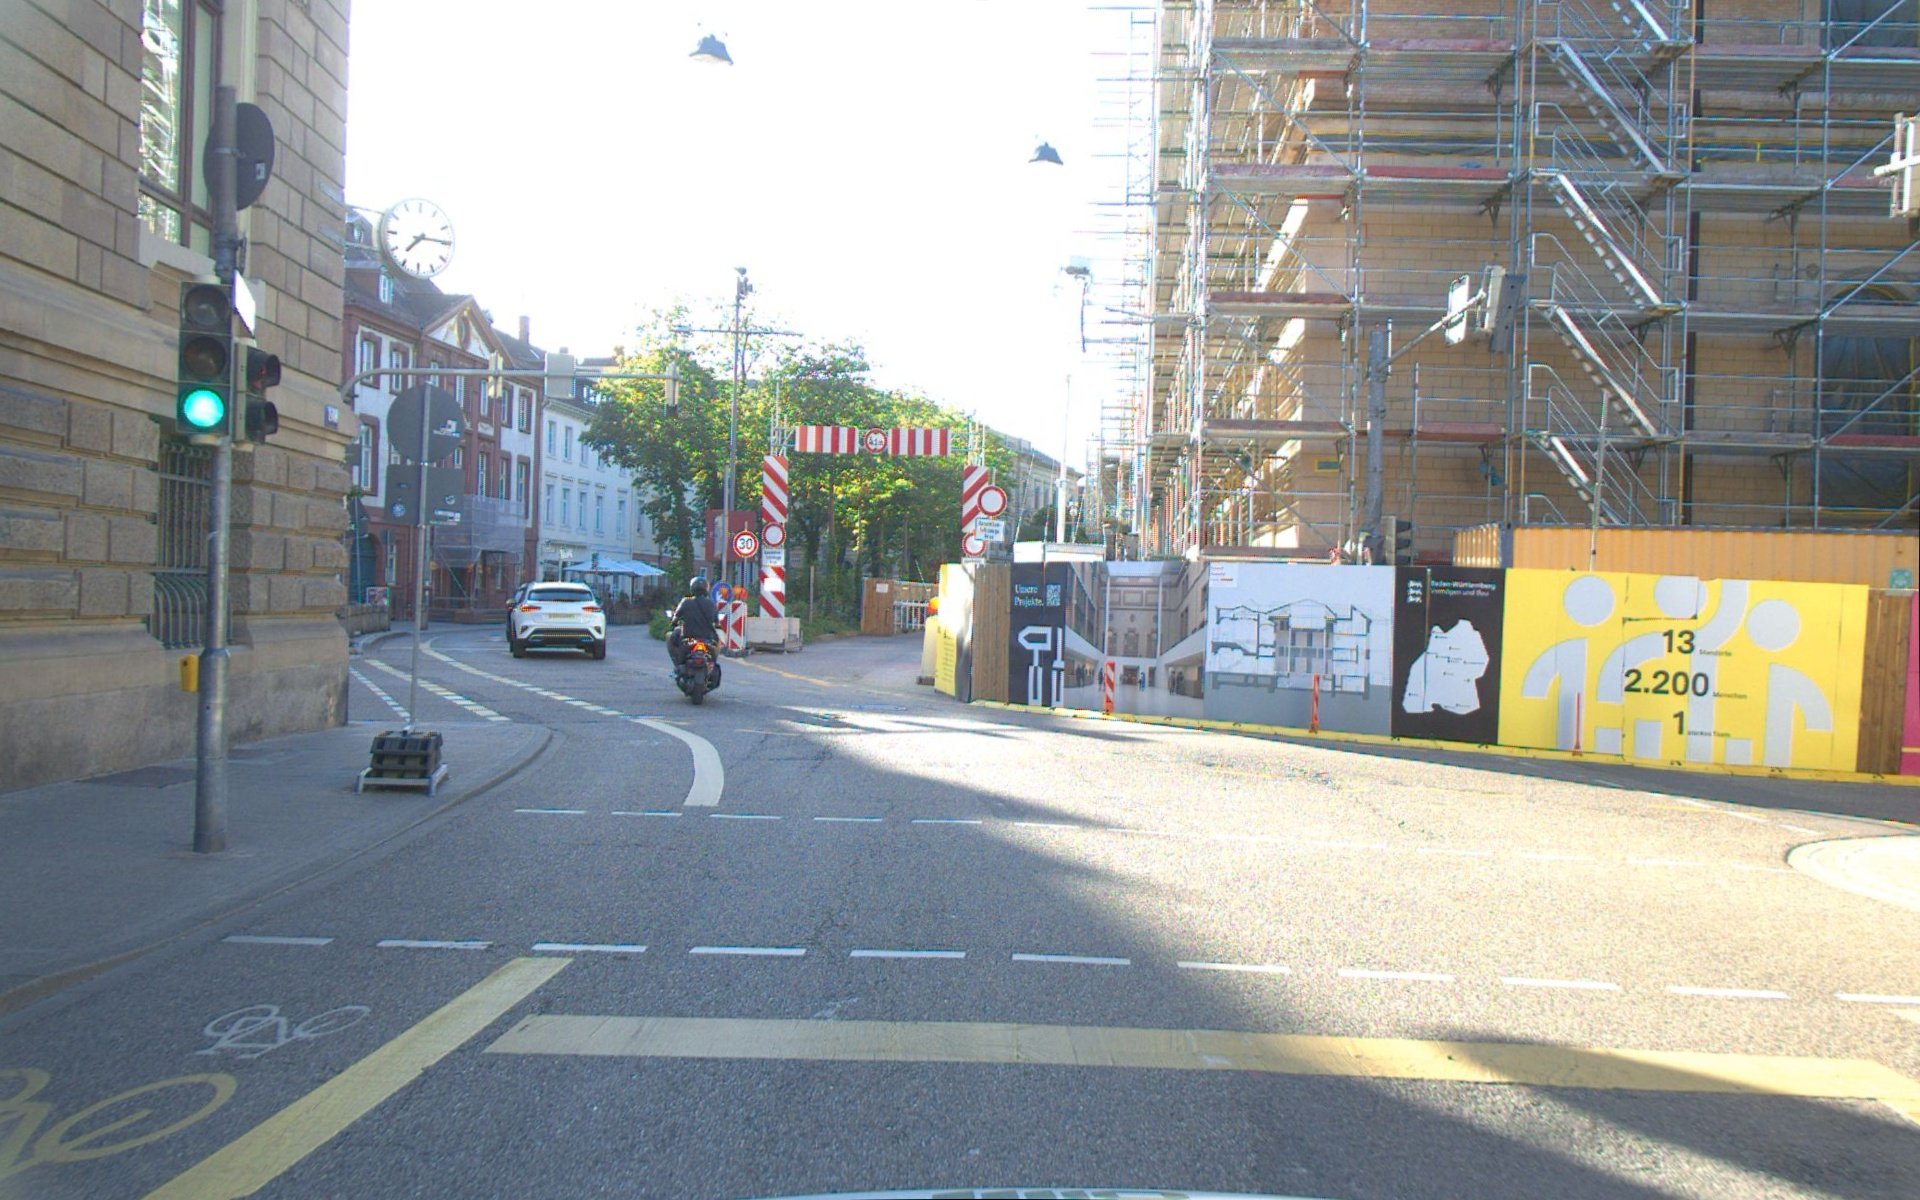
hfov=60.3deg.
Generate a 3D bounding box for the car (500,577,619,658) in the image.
[{"bbox_3d":[-8.293,0.323,34.017,1.825,1.506,4.031,2,0,-22],"label":"car"}]

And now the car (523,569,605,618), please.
[{"bbox_3d":[-14.781,-0.244,61.917,1.802,1.743,4.059,2,0,4],"label":"car"}]

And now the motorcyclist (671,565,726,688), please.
[{"bbox_3d":[-3.669,0.365,23.153,0.646,1.679,0.648,2,0,-15],"label":"motorcyclist"}]

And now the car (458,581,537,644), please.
[{"bbox_3d":[-12.025,0.298,42.867,1.811,1.489,4.038,2,0,-17],"label":"car"}]

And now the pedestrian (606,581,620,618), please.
[{"bbox_3d":[-17.471,-0.028,83.299,0.428,1.806,0.597,1,0,19],"label":"pedestrian"}]

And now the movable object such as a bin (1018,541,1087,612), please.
[{"bbox_3d":[6.341,-1.528,111.911,3.236,4.619,7.911,0,0,14],"label":"movable object such as a bin"}]

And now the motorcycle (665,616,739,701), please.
[{"bbox_3d":[-3.606,0.802,23.033,0.783,1.085,1.718,2,0,-16],"label":"motorcycle"}]
